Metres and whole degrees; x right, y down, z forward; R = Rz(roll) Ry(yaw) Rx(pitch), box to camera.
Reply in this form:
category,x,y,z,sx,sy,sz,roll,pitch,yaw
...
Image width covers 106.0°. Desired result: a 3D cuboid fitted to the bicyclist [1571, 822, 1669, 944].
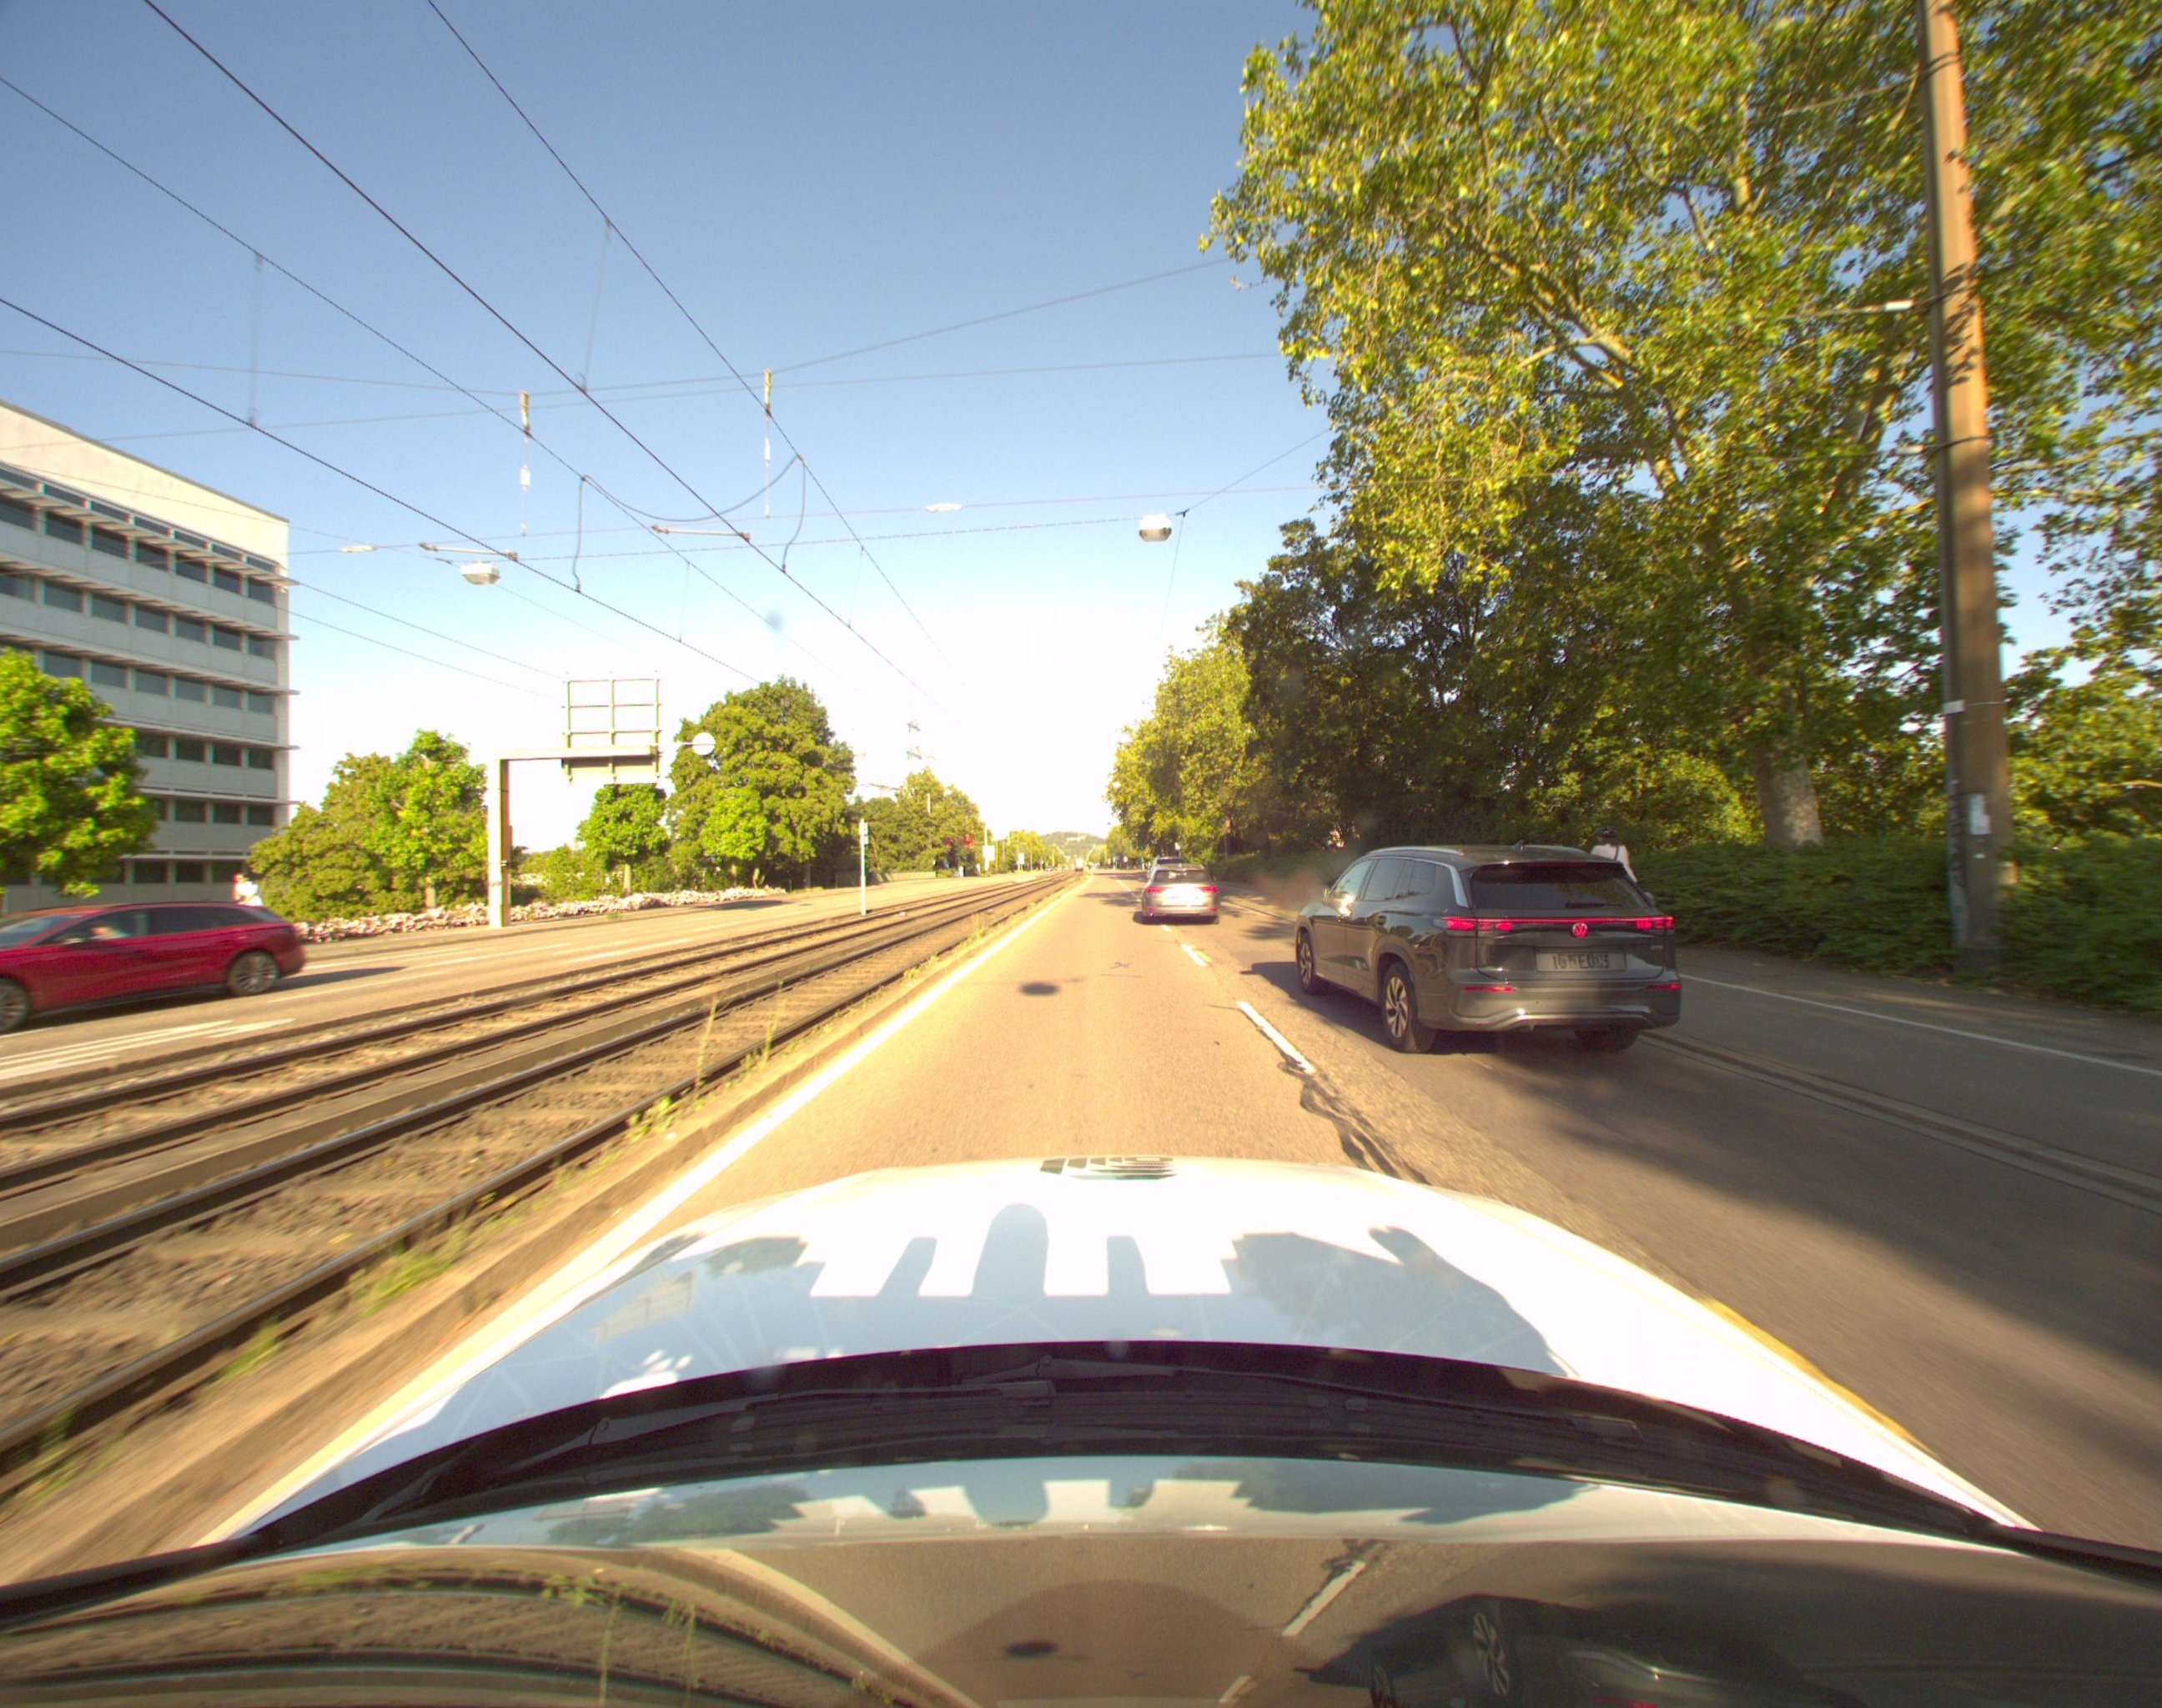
category,x,y,z,sx,sy,sz,roll,pitch,yaw
bicyclist,7.001,0.359,10.622,0.683,1.509,0.891,-1,0,1

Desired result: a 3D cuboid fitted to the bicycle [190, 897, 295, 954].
category,x,y,z,sx,sy,sz,roll,pitch,yaw
bicycle,-20.545,1.723,20.013,0.599,1.219,1.752,1,0,8

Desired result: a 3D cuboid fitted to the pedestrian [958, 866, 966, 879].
category,x,y,z,sx,sy,sz,roll,pitch,yaw
pedestrian,-16.862,2.603,115.346,0.718,1.756,0.840,0,-2,22

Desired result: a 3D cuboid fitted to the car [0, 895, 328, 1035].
category,x,y,z,sx,sy,sz,roll,pitch,yaw
car,-13.987,1.463,11.504,2.032,1.503,4.889,-2,0,2

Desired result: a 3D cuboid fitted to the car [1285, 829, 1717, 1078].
category,x,y,z,sx,sy,sz,roll,pitch,yaw
car,3.363,0.683,7.670,1.838,1.661,4.440,0,-1,1

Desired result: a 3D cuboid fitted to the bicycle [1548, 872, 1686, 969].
category,x,y,z,sx,sy,sz,roll,pitch,yaw
bicycle,7.038,0.831,10.805,0.620,1.120,1.813,-2,0,1

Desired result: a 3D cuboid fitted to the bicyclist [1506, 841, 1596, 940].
category,x,y,z,sx,sy,sz,roll,pitch,yaw
bicyclist,6.120,0.461,10.648,0.639,1.226,0.891,-2,-1,1

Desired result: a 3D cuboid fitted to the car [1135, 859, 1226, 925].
category,x,y,z,sx,sy,sz,roll,pitch,yaw
car,2.405,0.885,20.748,1.859,1.467,4.667,-1,-1,2

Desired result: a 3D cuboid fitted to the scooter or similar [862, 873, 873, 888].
category,x,y,z,sx,sy,sz,roll,pitch,yaw
scooter or similar,-18.294,2.253,69.867,0.469,1.296,1.265,-2,-1,8

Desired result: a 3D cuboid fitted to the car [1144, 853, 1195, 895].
category,x,y,z,sx,sy,sz,roll,pitch,yaw
car,3.964,0.848,36.913,1.877,1.796,4.000,1,0,0

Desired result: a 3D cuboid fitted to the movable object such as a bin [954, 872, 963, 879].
category,x,y,z,sx,sy,sz,roll,pitch,yaw
movable object such as a bin,-17.244,2.961,114.439,0.718,0.961,1.107,0,-2,23

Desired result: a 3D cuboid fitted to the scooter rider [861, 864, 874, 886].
category,x,y,z,sx,sy,sz,roll,pitch,yaw
scooter rider,-18.299,1.762,69.869,0.678,1.848,1.003,-2,-1,9

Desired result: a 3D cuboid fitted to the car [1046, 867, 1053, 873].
category,x,y,z,sx,sy,sz,roll,pitch,yaw
car,-9.739,4.922,251.219,1.856,1.720,4.000,-1,0,1

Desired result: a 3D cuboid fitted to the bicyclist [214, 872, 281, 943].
category,x,y,z,sx,sy,sz,roll,pitch,yaw
bicyclist,-20.528,1.293,20.072,0.599,1.659,0.965,1,0,8
